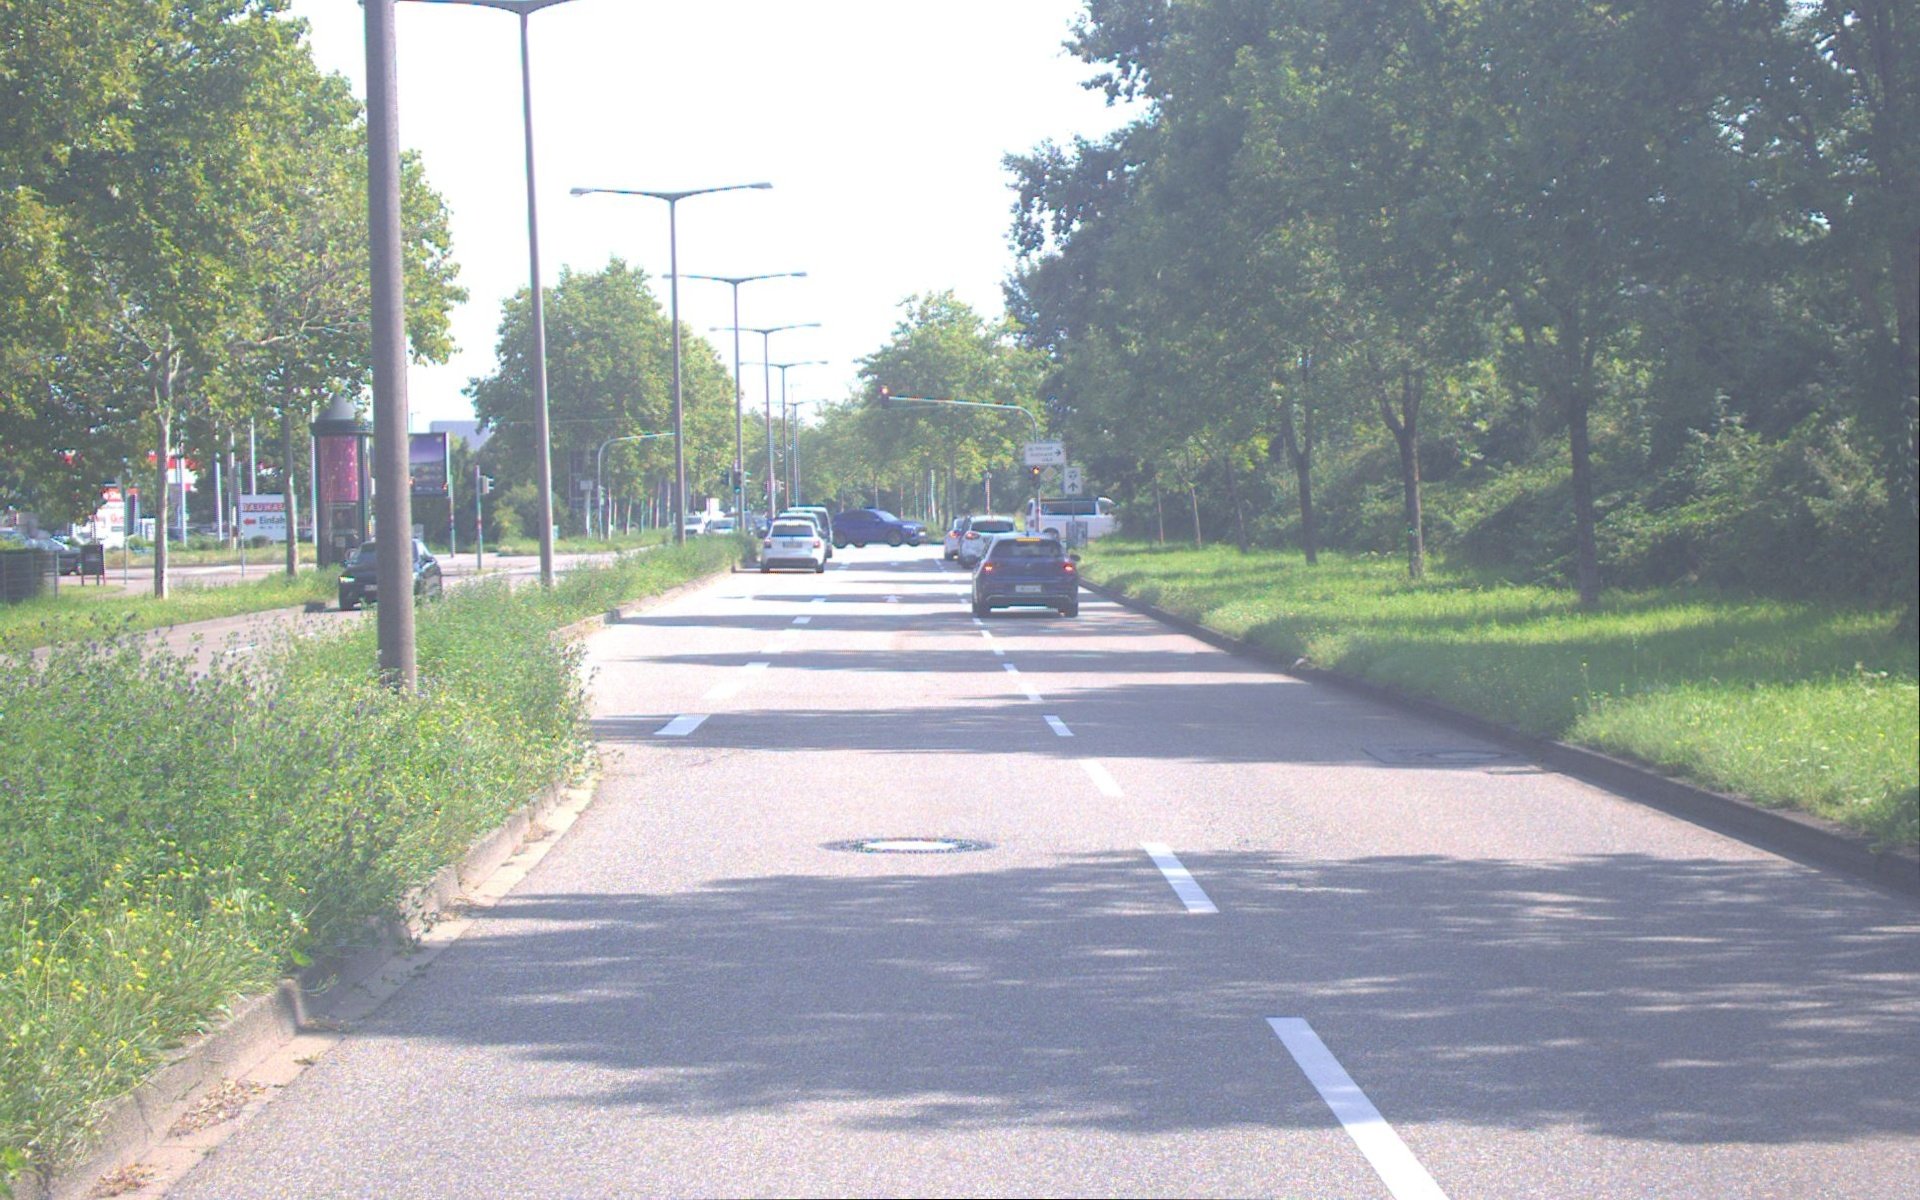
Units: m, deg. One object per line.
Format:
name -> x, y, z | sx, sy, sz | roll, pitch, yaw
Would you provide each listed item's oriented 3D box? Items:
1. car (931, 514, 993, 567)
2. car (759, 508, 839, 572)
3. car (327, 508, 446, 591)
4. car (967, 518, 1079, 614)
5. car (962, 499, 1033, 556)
car -> 0.041, -2.064, 117.963 | 1.993, 1.648, 4.001 | 0, 3, -2
car -> -4.492, -1.679, 96.422 | 1.993, 1.696, 4.000 | -1, 1, 0
car -> -12.261, -1.100, 73.747 | 1.993, 1.556, 4.001 | 1, 4, -2
car -> 1.062, -0.623, 59.710 | 1.780, 1.422, 4.001 | 1, 4, -1
car -> 1.127, -2.194, 104.671 | 1.993, 1.648, 4.000 | -2, 1, -1
